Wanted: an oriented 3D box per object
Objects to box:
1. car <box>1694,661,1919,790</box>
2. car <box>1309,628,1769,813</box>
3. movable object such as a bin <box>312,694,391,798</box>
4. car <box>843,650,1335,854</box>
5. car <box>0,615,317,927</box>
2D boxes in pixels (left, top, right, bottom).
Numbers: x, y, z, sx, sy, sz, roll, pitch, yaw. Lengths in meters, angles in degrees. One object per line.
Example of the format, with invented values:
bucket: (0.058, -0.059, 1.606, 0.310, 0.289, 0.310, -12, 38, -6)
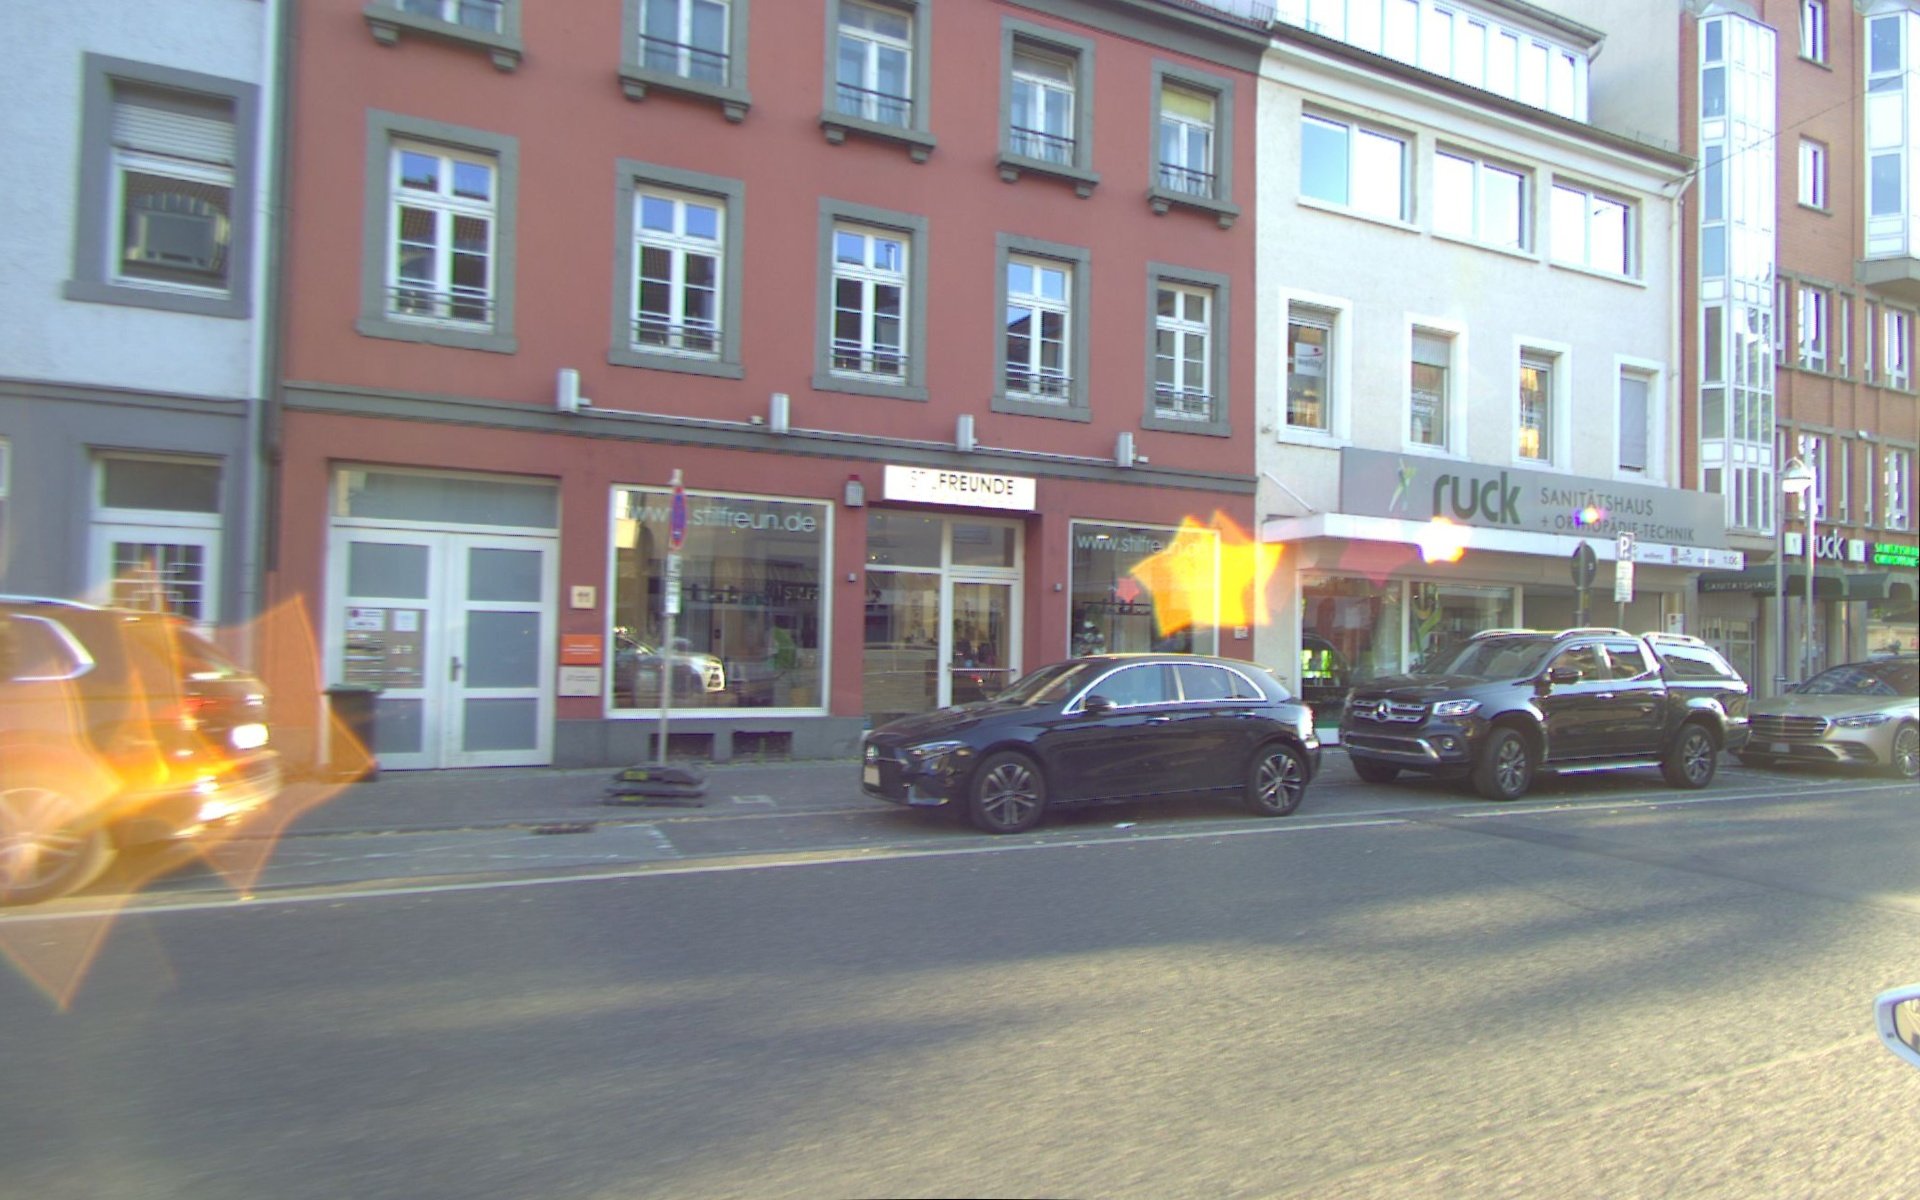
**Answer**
car: (12.967, 1.670, 14.093, 5.039, 1.530, 1.990, 2, -3, -23)
car: (6.814, 1.315, 11.778, 5.226, 1.792, 1.989, 2, -3, -24)
movable object such as a bin: (-5.855, 1.390, 9.689, 0.575, 0.928, 0.488, 2, -2, -27)
car: (1.186, 1.258, 9.198, 4.157, 1.530, 1.763, 2, -3, -23)
car: (-6.316, 0.897, 5.701, 4.157, 1.635, 1.763, 2, -3, -23)
